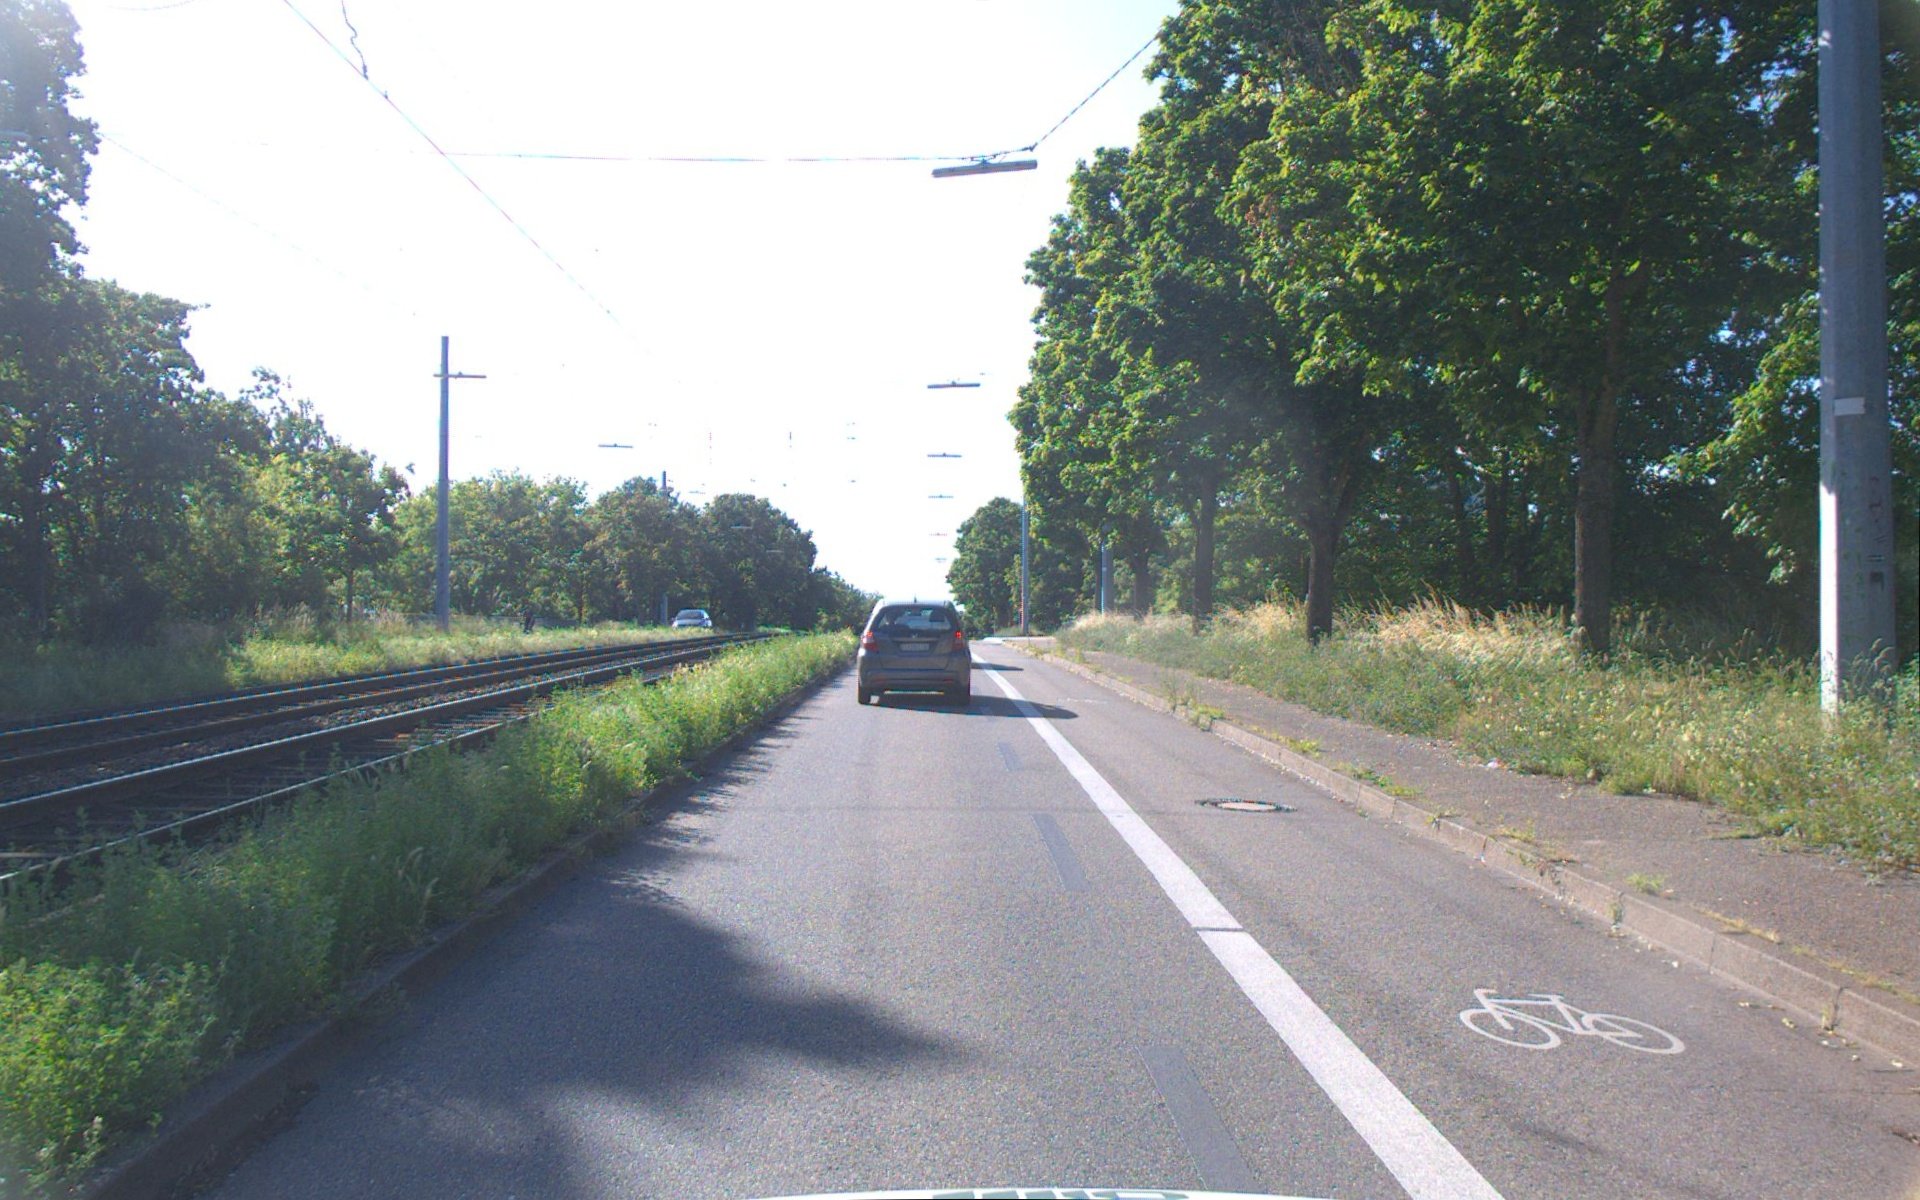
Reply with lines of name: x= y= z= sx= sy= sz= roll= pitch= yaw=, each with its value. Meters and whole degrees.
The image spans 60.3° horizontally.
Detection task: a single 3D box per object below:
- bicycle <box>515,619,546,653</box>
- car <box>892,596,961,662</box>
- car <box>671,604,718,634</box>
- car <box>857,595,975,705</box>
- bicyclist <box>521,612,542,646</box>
bicycle: x=-16.962 y=1.410 z=65.329 sx=0.578 sy=1.283 sz=2.427 roll=1 pitch=0 yaw=-1
car: x=-0.807 y=0.692 z=41.607 sx=1.621 sy=1.534 sz=3.810 roll=1 pitch=0 yaw=-1
car: x=-14.284 y=0.987 z=89.084 sx=1.772 sy=1.515 sz=4.406 roll=1 pitch=0 yaw=0
car: x=-0.632 y=0.708 z=25.134 sx=1.636 sy=1.534 sz=3.810 roll=1 pitch=0 yaw=-1
bicyclist: x=-16.942 y=1.139 z=65.405 sx=0.570 sy=1.333 sz=0.987 roll=1 pitch=0 yaw=-1
